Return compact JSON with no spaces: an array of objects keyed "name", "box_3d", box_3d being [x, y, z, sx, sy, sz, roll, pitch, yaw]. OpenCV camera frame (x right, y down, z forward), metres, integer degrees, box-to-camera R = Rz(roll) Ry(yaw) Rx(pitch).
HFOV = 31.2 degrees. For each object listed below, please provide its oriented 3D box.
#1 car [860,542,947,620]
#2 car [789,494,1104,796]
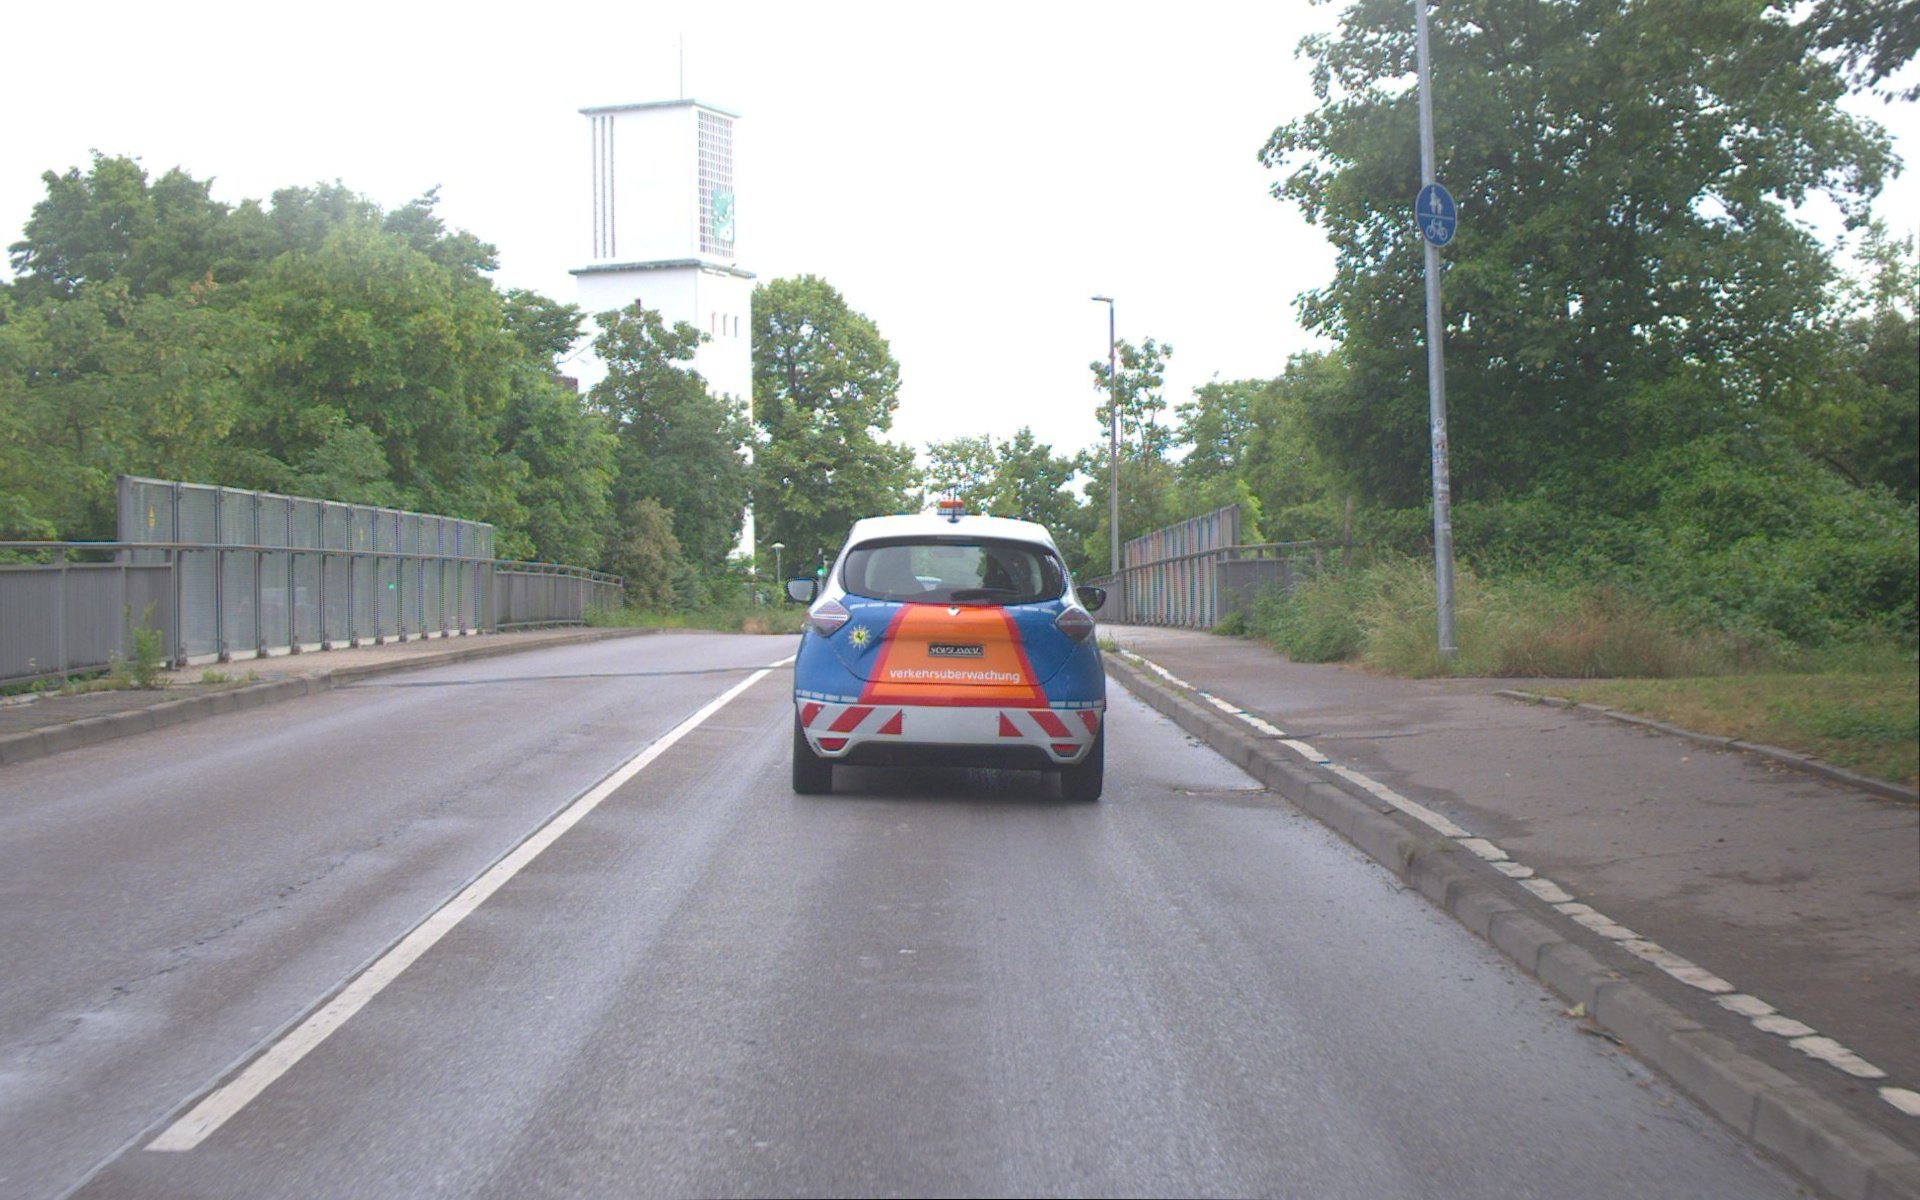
[{"name":"car","box_3d":[-1.267,-0.436,75.369,1.802,1.584,3.563,-2,1,-2]},{"name":"car","box_3d":[-0.089,0.214,19.916,1.657,1.587,3.568,0,1,-1]}]
